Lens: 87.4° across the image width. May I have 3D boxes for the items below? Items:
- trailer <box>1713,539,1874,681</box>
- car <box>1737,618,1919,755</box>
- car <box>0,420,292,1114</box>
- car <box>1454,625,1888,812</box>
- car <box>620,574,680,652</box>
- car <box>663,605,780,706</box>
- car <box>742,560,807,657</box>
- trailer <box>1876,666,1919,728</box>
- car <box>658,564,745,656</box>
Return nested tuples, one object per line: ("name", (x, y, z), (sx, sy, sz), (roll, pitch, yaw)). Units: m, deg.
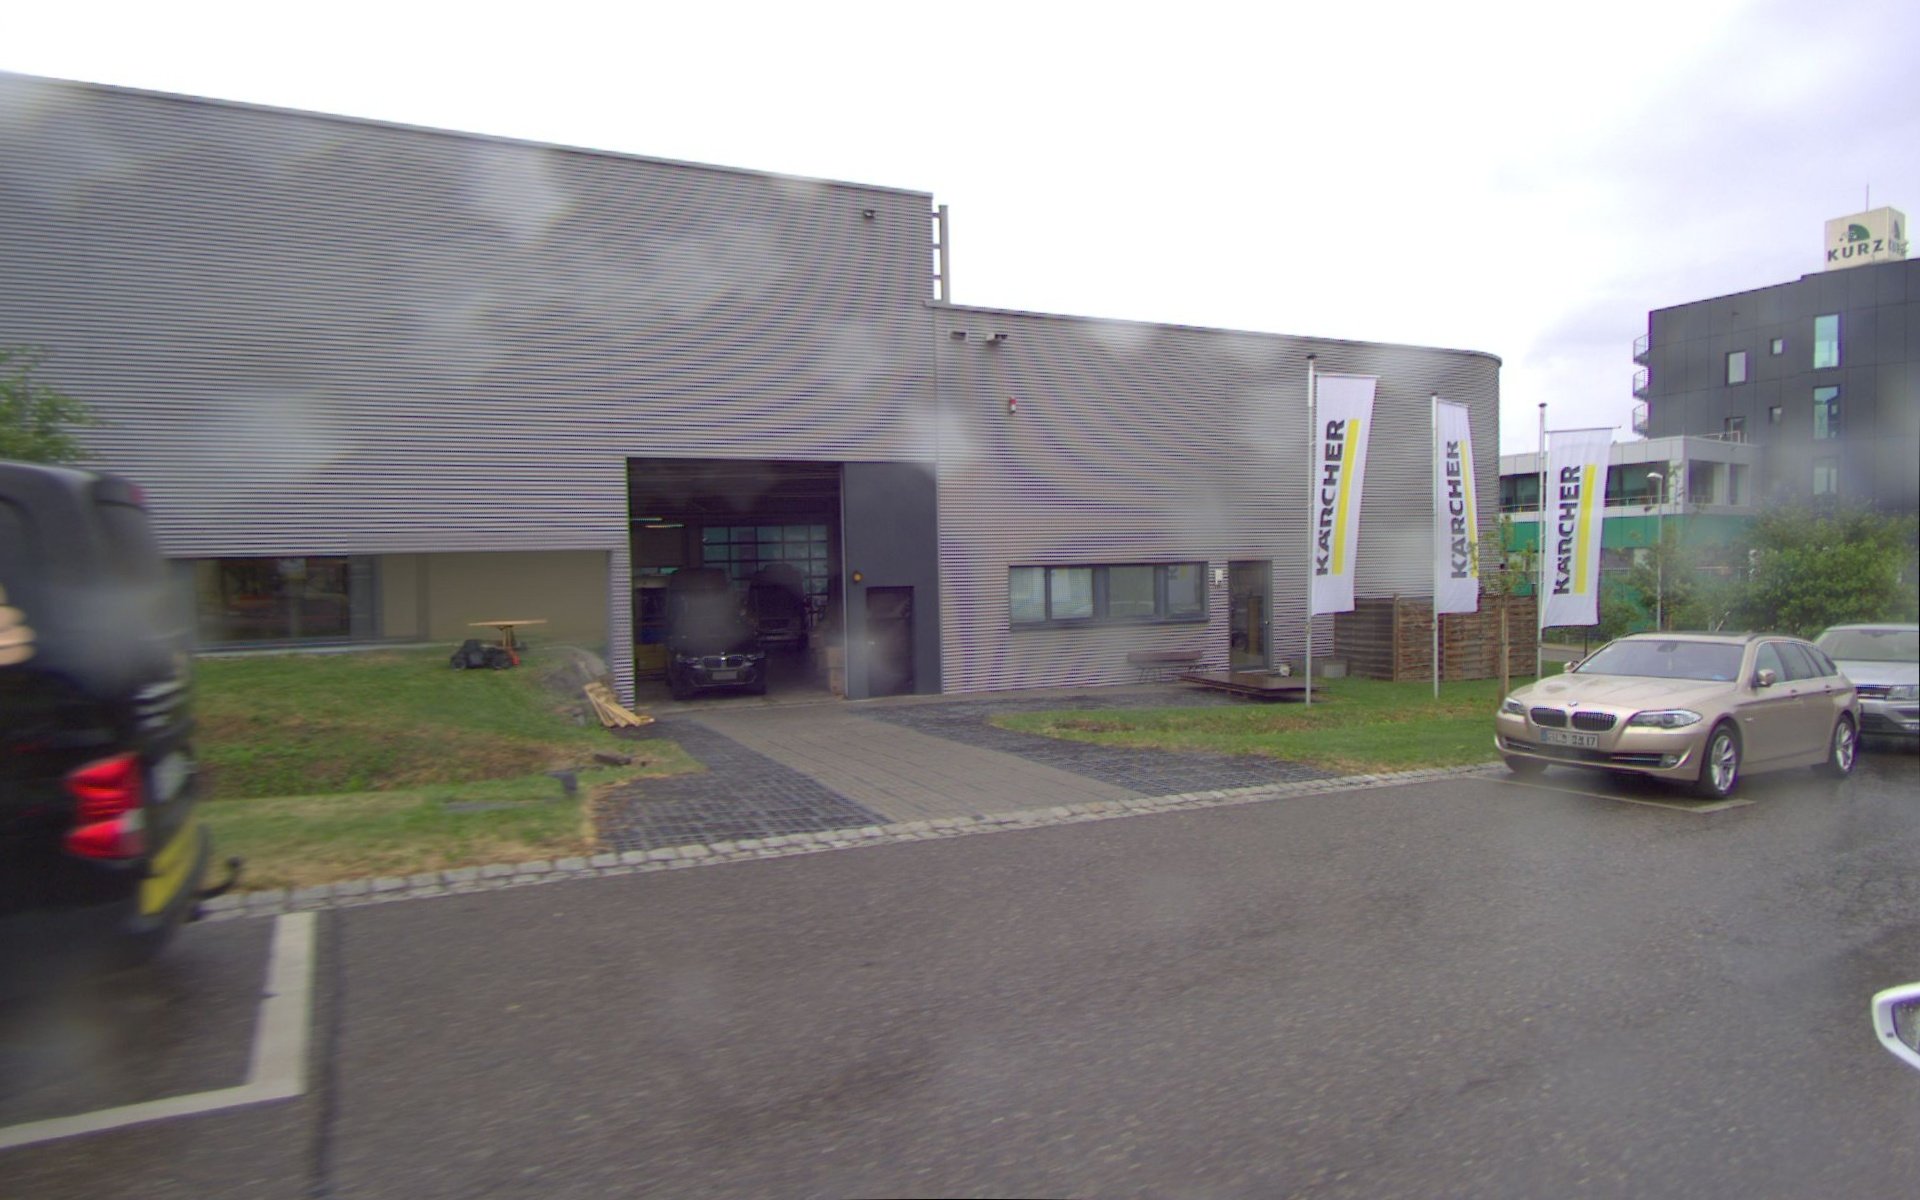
("trailer", (26.683, 0.336, 32.356), (1.965, 4.259, 4.189), (1, -1, 5))
("car", (12.786, 1.108, 13.873), (4.792, 1.597, 1.945), (2, -2, -35))
("car", (-4.614, 0.393, 2.502), (4.794, 1.855, 1.905), (2, 0, -32))
("car", (7.506, 1.044, 10.420), (5.192, 1.480, 1.944), (2, -1, -34))
("car", (-11.785, 0.430, 38.448), (1.811, 2.779, 4.212), (-2, 1, -13))
("car", (-5.180, 1.071, 21.394), (1.904, 1.796, 4.204), (-2, 1, -20))
("car", (-6.289, 0.216, 34.581), (1.874, 2.980, 5.918), (-2, 1, -8))
("trailer", (16.441, 1.568, 16.185), (3.858, 0.900, 1.669), (2, -1, -35))
("car", (-8.188, 0.250, 32.289), (2.082, 2.635, 5.698), (-2, 1, -9))
